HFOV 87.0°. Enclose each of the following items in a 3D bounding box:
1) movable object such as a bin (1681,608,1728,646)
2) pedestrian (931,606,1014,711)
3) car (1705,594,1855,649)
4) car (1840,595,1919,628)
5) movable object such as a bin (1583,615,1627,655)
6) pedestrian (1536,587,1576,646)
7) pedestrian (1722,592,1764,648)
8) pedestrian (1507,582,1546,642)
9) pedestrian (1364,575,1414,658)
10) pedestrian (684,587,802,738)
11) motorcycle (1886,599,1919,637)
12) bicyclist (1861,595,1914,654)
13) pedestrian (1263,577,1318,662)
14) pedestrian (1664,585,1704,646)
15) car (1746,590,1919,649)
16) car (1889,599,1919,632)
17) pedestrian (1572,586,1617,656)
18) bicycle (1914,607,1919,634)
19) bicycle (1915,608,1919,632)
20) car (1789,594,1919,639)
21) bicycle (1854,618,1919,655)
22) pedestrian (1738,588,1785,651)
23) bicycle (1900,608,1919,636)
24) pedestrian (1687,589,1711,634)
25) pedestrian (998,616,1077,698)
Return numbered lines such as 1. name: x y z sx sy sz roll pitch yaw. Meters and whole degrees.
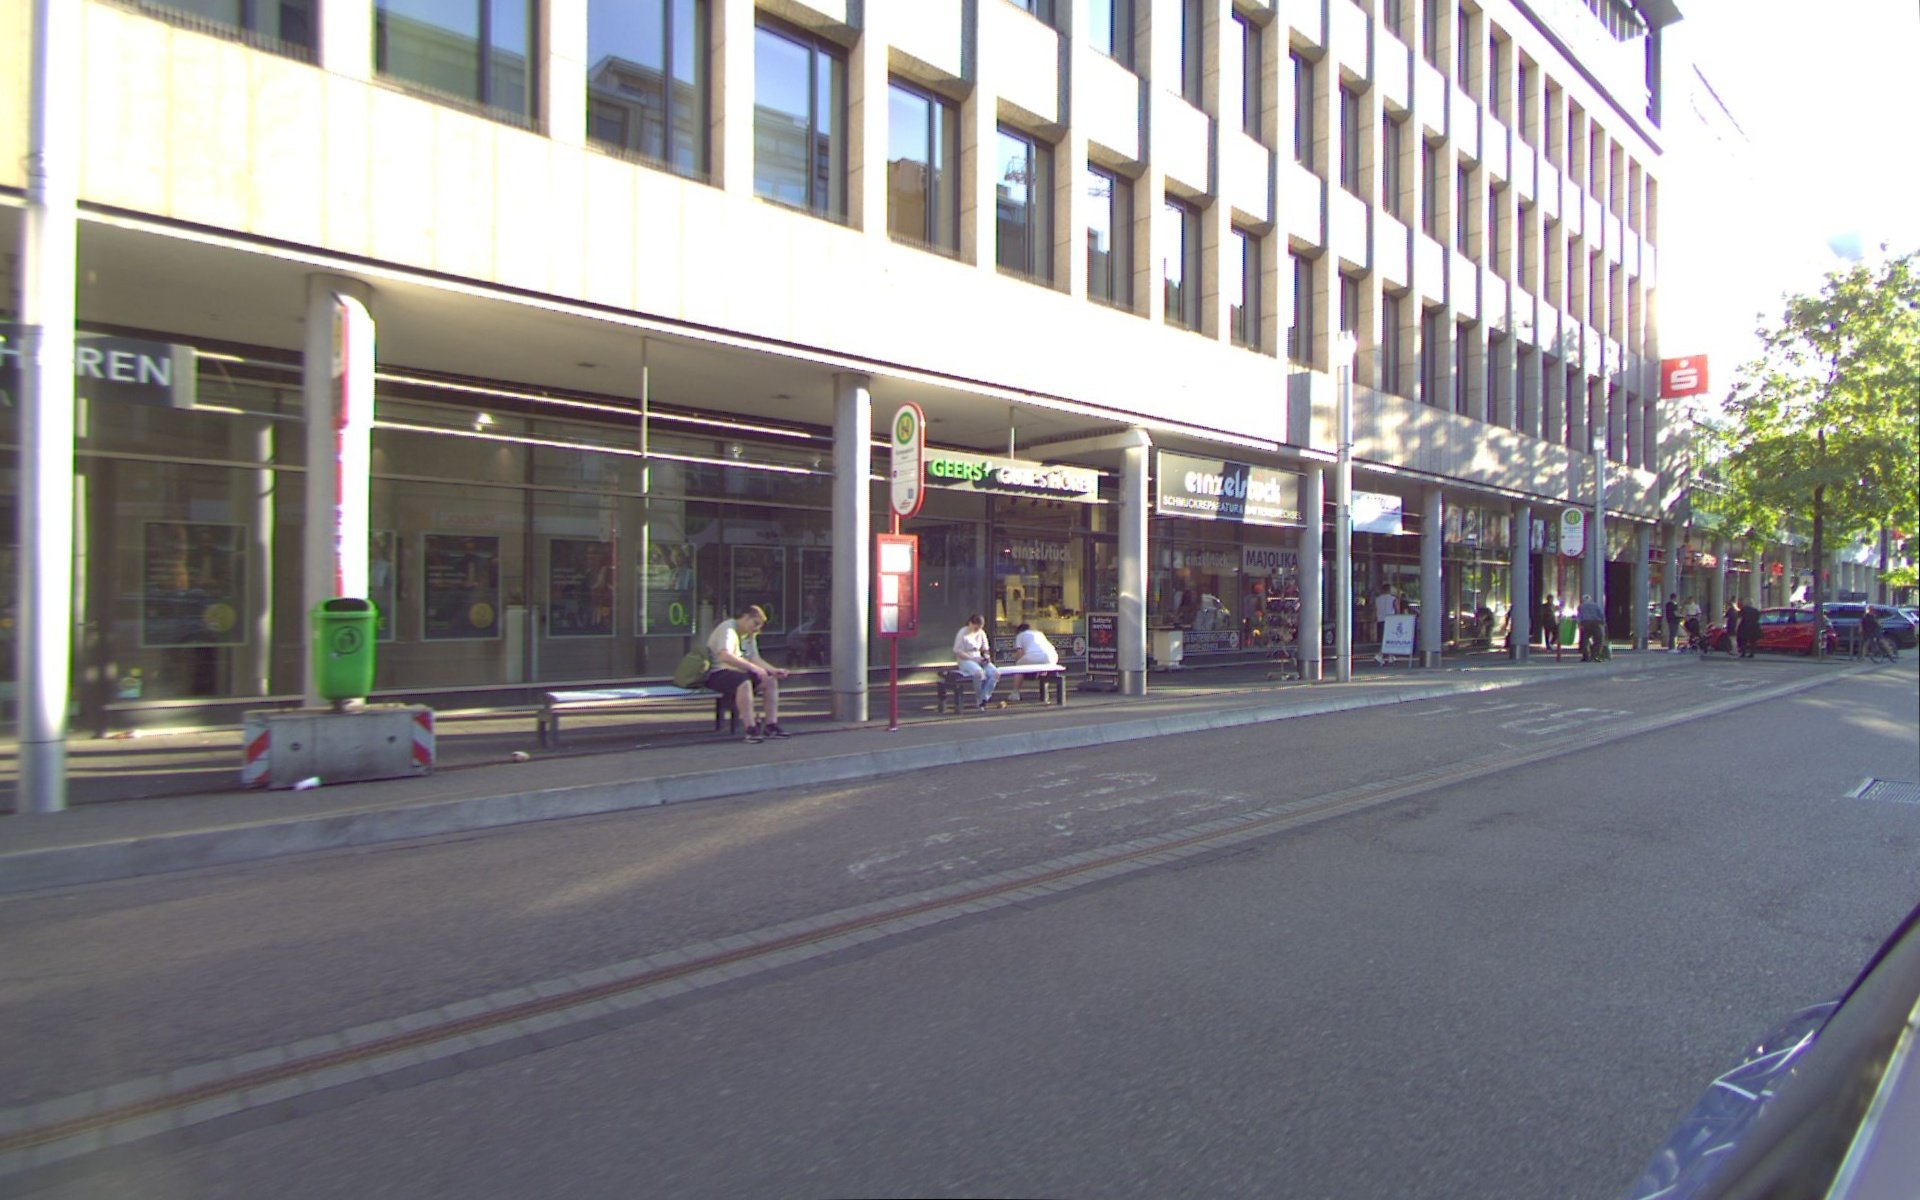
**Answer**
1. movable object such as a bin: 22.040 0.798 29.964 0.818 1.077 0.689 2 1 1
2. pedestrian: 0.151 0.685 12.306 0.770 1.213 0.668 0 -1 -36
3. car: 25.647 0.636 31.808 3.370 1.499 1.650 3 2 30
4. car: 47.604 0.631 50.603 4.986 1.487 1.970 3 2 14
5. movable object such as a bin: 15.215 0.821 23.872 0.705 0.936 0.691 1 -2 -40
6. pedestrian: 16.510 0.439 28.043 0.909 1.609 0.697 1 -1 -40
7. pedestrian: 22.960 0.581 29.685 0.677 1.571 0.607 2 1 3
8. pedestrian: 17.510 0.359 31.303 0.768 1.807 0.846 1 -1 -40
9. pedestrian: 9.639 0.363 22.753 0.842 1.816 0.745 1 -1 -40
10. pedestrian: -2.106 0.577 9.871 0.828 1.395 0.770 0 -1 27
11. motorcycle: 40.101 0.756 42.052 2.279 1.528 0.858 2 2 6
12. bicyclist: 26.466 0.692 28.883 0.894 1.634 0.781 0 -2 -27
13. pedestrian: 6.846 0.395 20.972 0.842 1.722 0.745 1 -1 -40
14. pedestrian: 21.437 0.450 29.973 0.621 1.753 0.689 2 1 1
15. car: 28.570 0.610 32.962 4.300 1.672 1.685 2 2 19
16. car: 55.273 0.938 56.434 4.610 1.785 1.981 3 2 21
17. pedestrian: 14.764 0.488 23.550 0.621 1.593 0.682 1 -2 -40
18. bicycle: 42.786 0.938 44.223 1.662 1.177 0.481 2 2 -1
19. bicycle: 44.412 0.963 45.722 1.544 1.102 0.864 3 1 19
20. car: 36.591 0.659 41.029 4.103 1.591 1.845 2 1 17
21. bicycle: 26.400 1.021 28.802 2.016 1.008 0.721 0 -2 -27
22. pedestrian: 22.561 0.544 28.489 0.682 1.706 0.682 2 1 -7
23. bicycle: 41.317 0.971 42.995 1.874 1.133 0.663 2 2 21
24. pedestrian: 29.694 0.464 40.671 0.589 1.765 0.626 1 1 -38
25. pedestrian: 1.041 0.750 13.648 0.683 1.044 0.838 0 -1 -36
